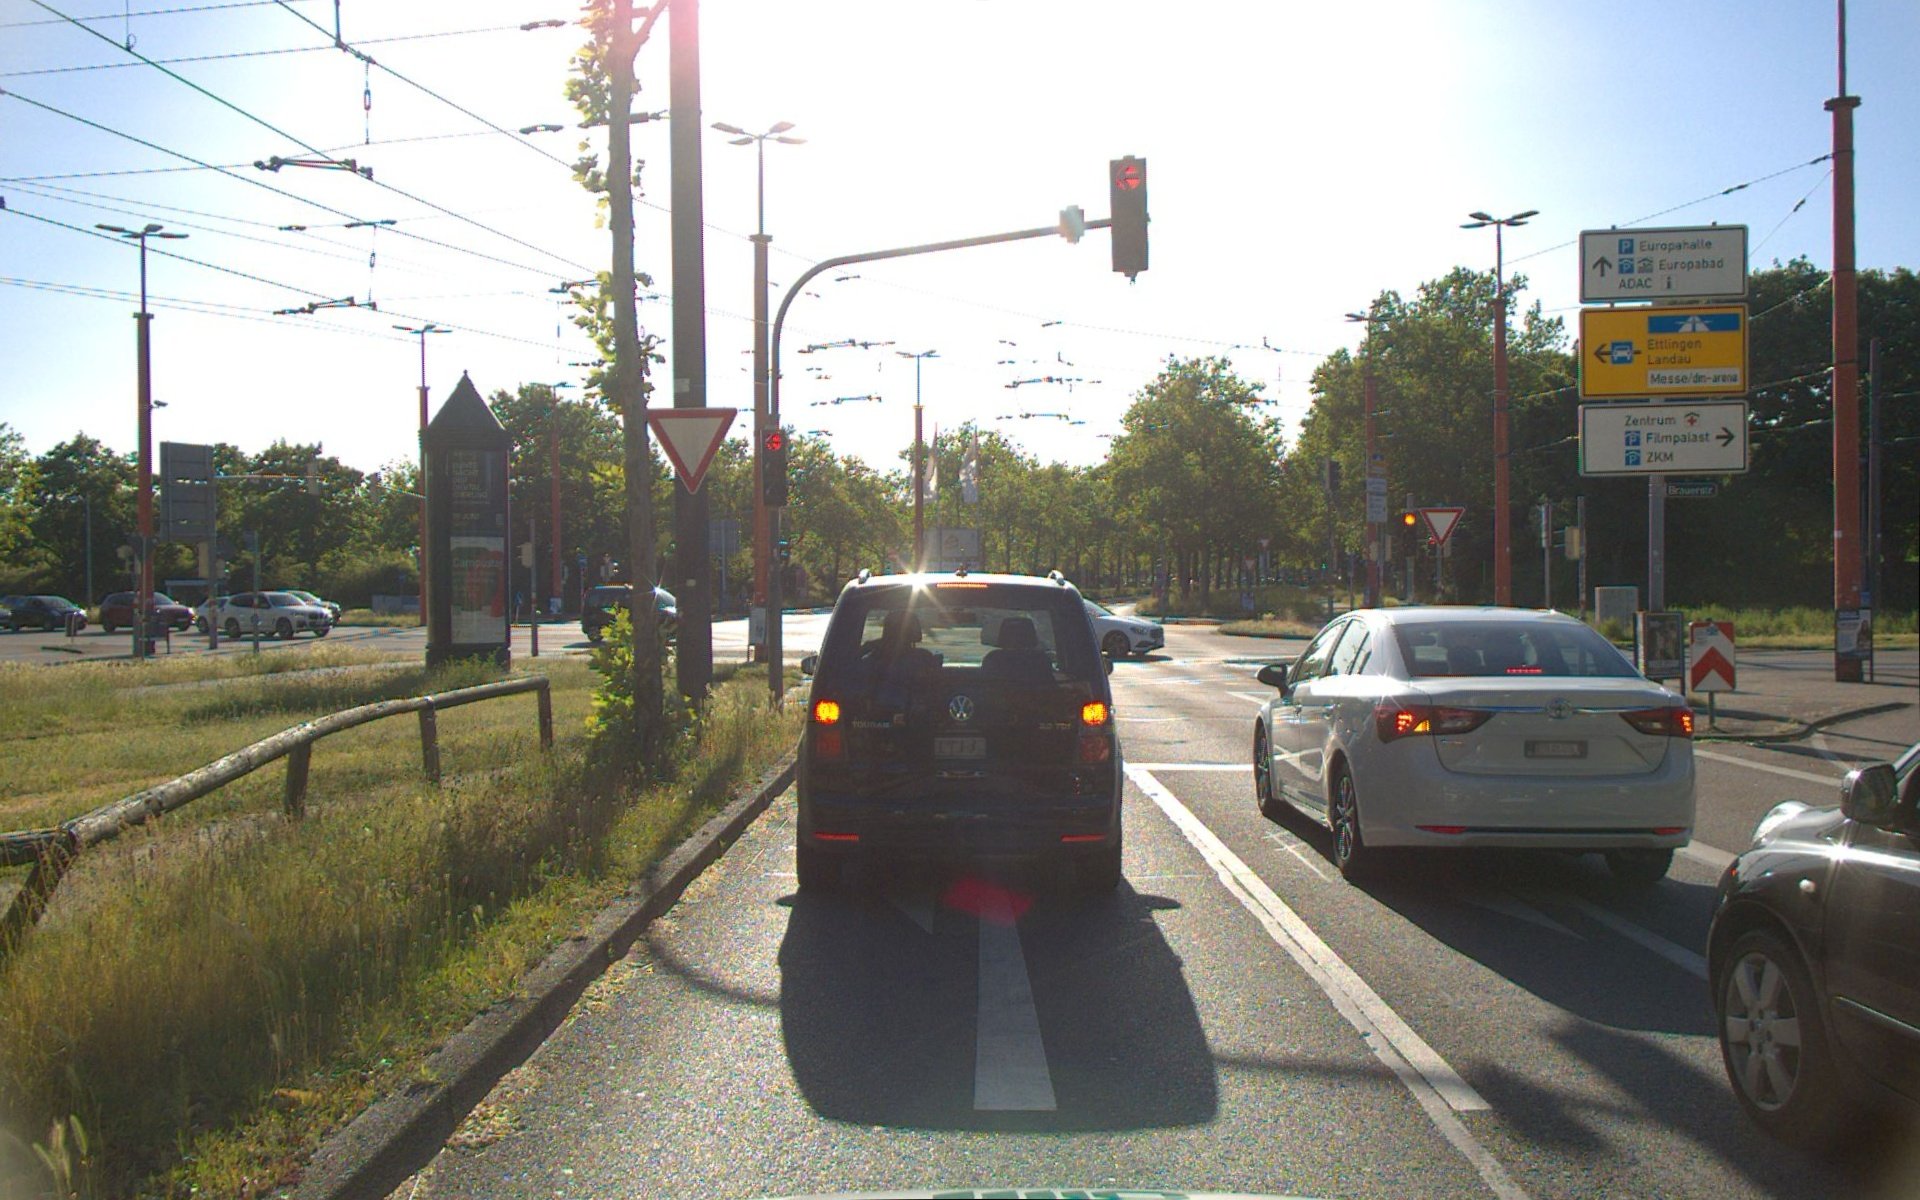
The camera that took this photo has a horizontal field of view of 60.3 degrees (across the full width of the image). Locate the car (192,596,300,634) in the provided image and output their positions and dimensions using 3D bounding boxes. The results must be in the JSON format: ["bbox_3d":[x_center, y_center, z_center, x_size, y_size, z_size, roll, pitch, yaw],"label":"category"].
[{"bbox_3d":[-29.347,0.600,67.990,4.127,1.489,1.912,0,0,27],"label":"car"}]

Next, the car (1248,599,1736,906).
[{"bbox_3d":[2.946,0.739,10.107,1.679,1.480,4.144,0,0,0],"label":"car"}]

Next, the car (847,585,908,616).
[{"bbox_3d":[-4.666,0.010,94.500,1.951,1.714,4.831,0,0,17],"label":"car"}]

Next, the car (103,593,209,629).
[{"bbox_3d":[-34.336,0.442,70.614,4.275,1.489,1.912,0,0,27],"label":"car"}]

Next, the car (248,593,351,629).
[{"bbox_3d":[-28.324,0.445,70.919,4.127,1.489,1.912,0,0,27],"label":"car"}]

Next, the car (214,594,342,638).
[{"bbox_3d":[-25.765,0.585,62.433,4.687,1.626,1.912,0,0,27],"label":"car"}]

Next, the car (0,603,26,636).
[{"bbox_3d":[-45.052,0.880,75.768,4.143,1.489,1.913,0,0,26],"label":"car"}]

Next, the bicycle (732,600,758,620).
[{"bbox_3d":[-12.232,0.564,94.218,0.719,1.109,1.962,0,0,18],"label":"bicycle"}]

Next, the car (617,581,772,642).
[{"bbox_3d":[-8.492,0.358,52.883,4.687,1.868,1.912,0,0,27],"label":"car"}]

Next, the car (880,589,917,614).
[{"bbox_3d":[-4.402,0.083,118.444,1.951,1.714,4.832,0,0,6],"label":"car"}]

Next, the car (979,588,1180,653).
[{"bbox_3d":[3.082,0.495,42.883,4.820,1.602,1.997,0,0,28],"label":"car"}]

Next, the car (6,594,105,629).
[{"bbox_3d":[-40.004,0.498,73.161,3.963,1.489,1.912,0,0,26],"label":"car"}]

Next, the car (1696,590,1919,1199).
[{"bbox_3d":[3.126,0.742,3.508,1.525,1.532,3.515,0,0,-1],"label":"car"}]

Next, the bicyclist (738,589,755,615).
[{"bbox_3d":[-12.201,0.089,94.438,0.678,1.483,0.875,0,0,17],"label":"bicyclist"}]

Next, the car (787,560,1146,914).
[{"bbox_3d":[0.005,0.642,9.863,1.702,1.670,3.999,0,0,-1],"label":"car"}]
